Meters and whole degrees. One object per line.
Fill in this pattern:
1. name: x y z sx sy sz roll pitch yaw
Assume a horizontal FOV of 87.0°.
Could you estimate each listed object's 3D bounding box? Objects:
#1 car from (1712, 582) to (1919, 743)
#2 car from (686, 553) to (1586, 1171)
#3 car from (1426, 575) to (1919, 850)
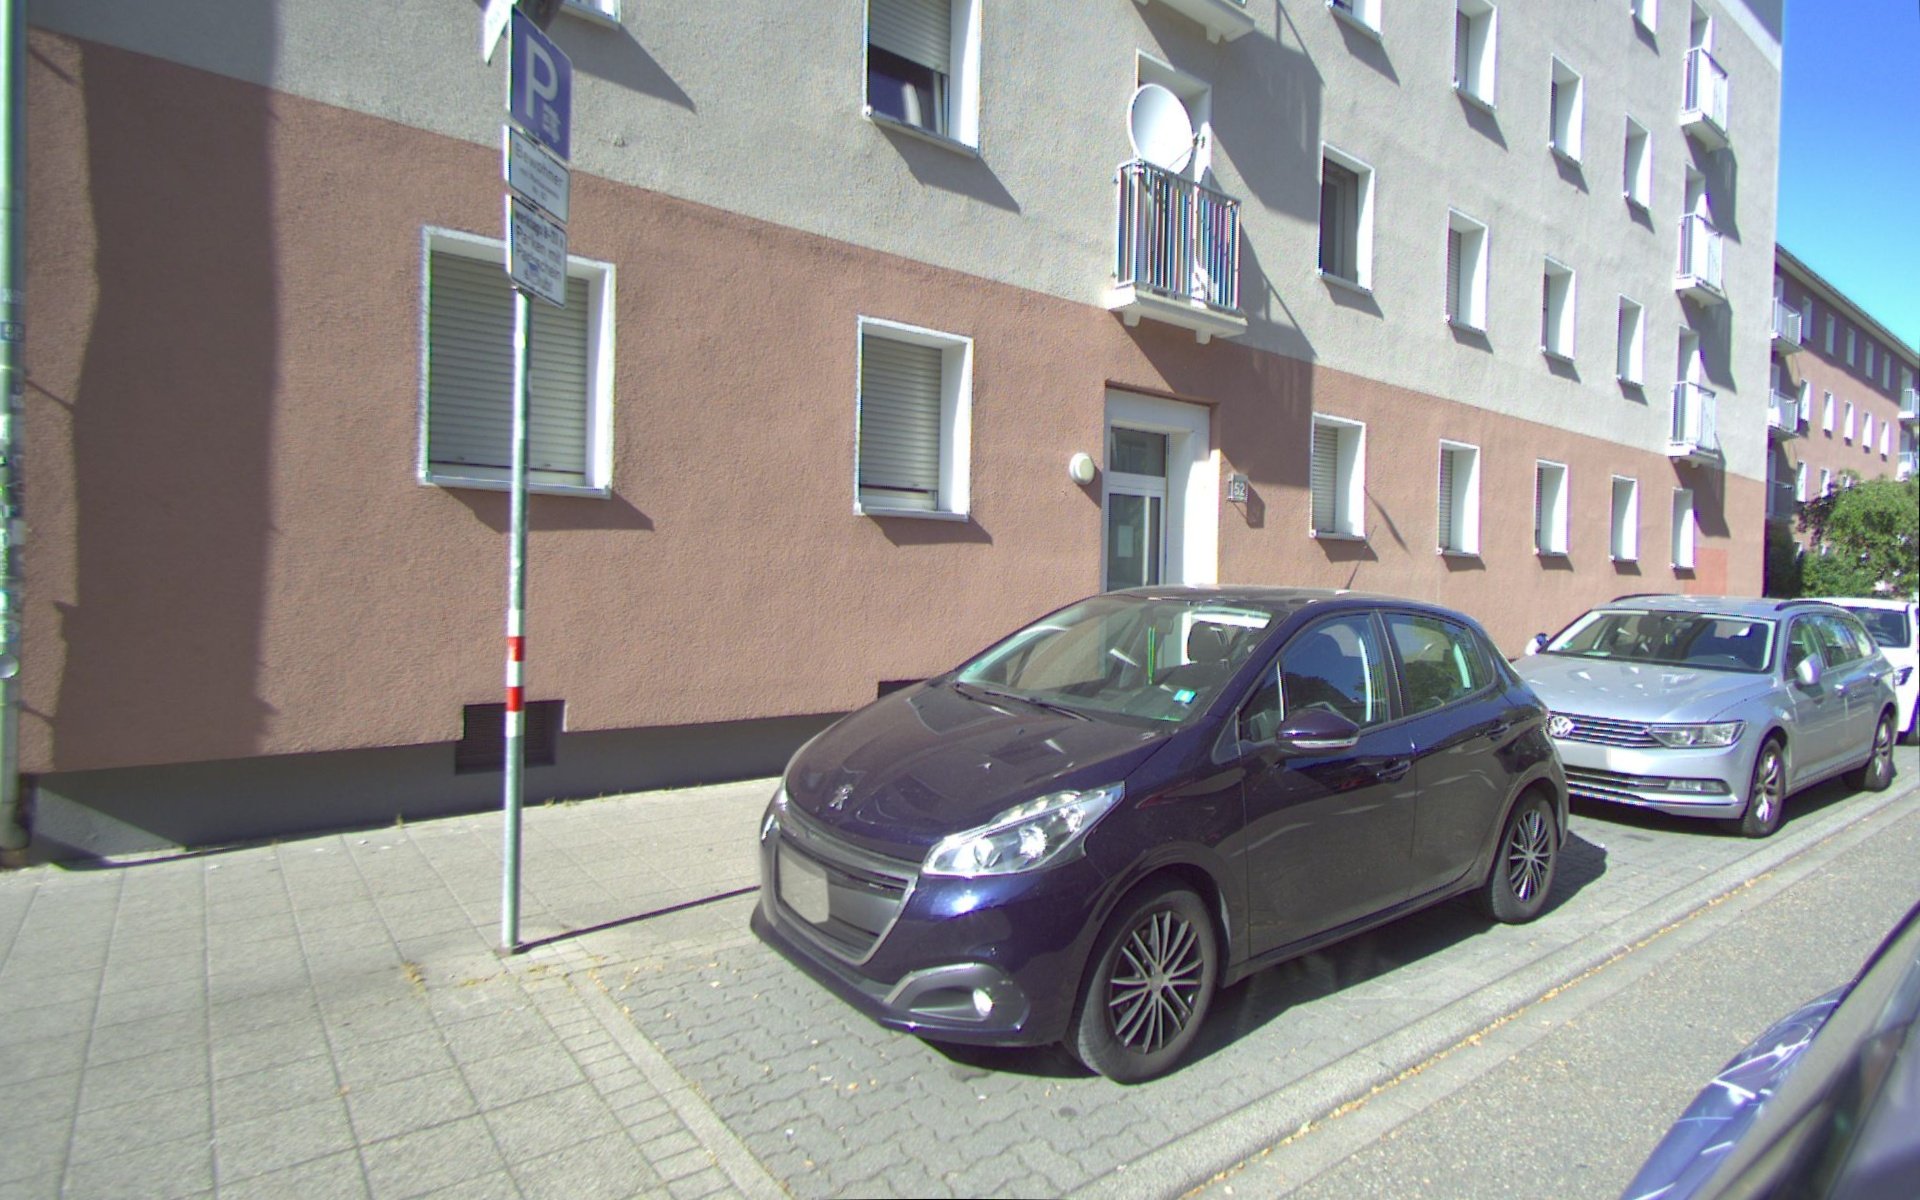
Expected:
1. car: 10.350 0.594 11.701 3.726 1.504 1.736 0 3 -39
2. car: 0.930 0.600 4.247 3.642 1.498 1.714 0 2 -38
3. car: 5.600 0.603 7.643 4.431 1.478 1.792 0 3 -36
